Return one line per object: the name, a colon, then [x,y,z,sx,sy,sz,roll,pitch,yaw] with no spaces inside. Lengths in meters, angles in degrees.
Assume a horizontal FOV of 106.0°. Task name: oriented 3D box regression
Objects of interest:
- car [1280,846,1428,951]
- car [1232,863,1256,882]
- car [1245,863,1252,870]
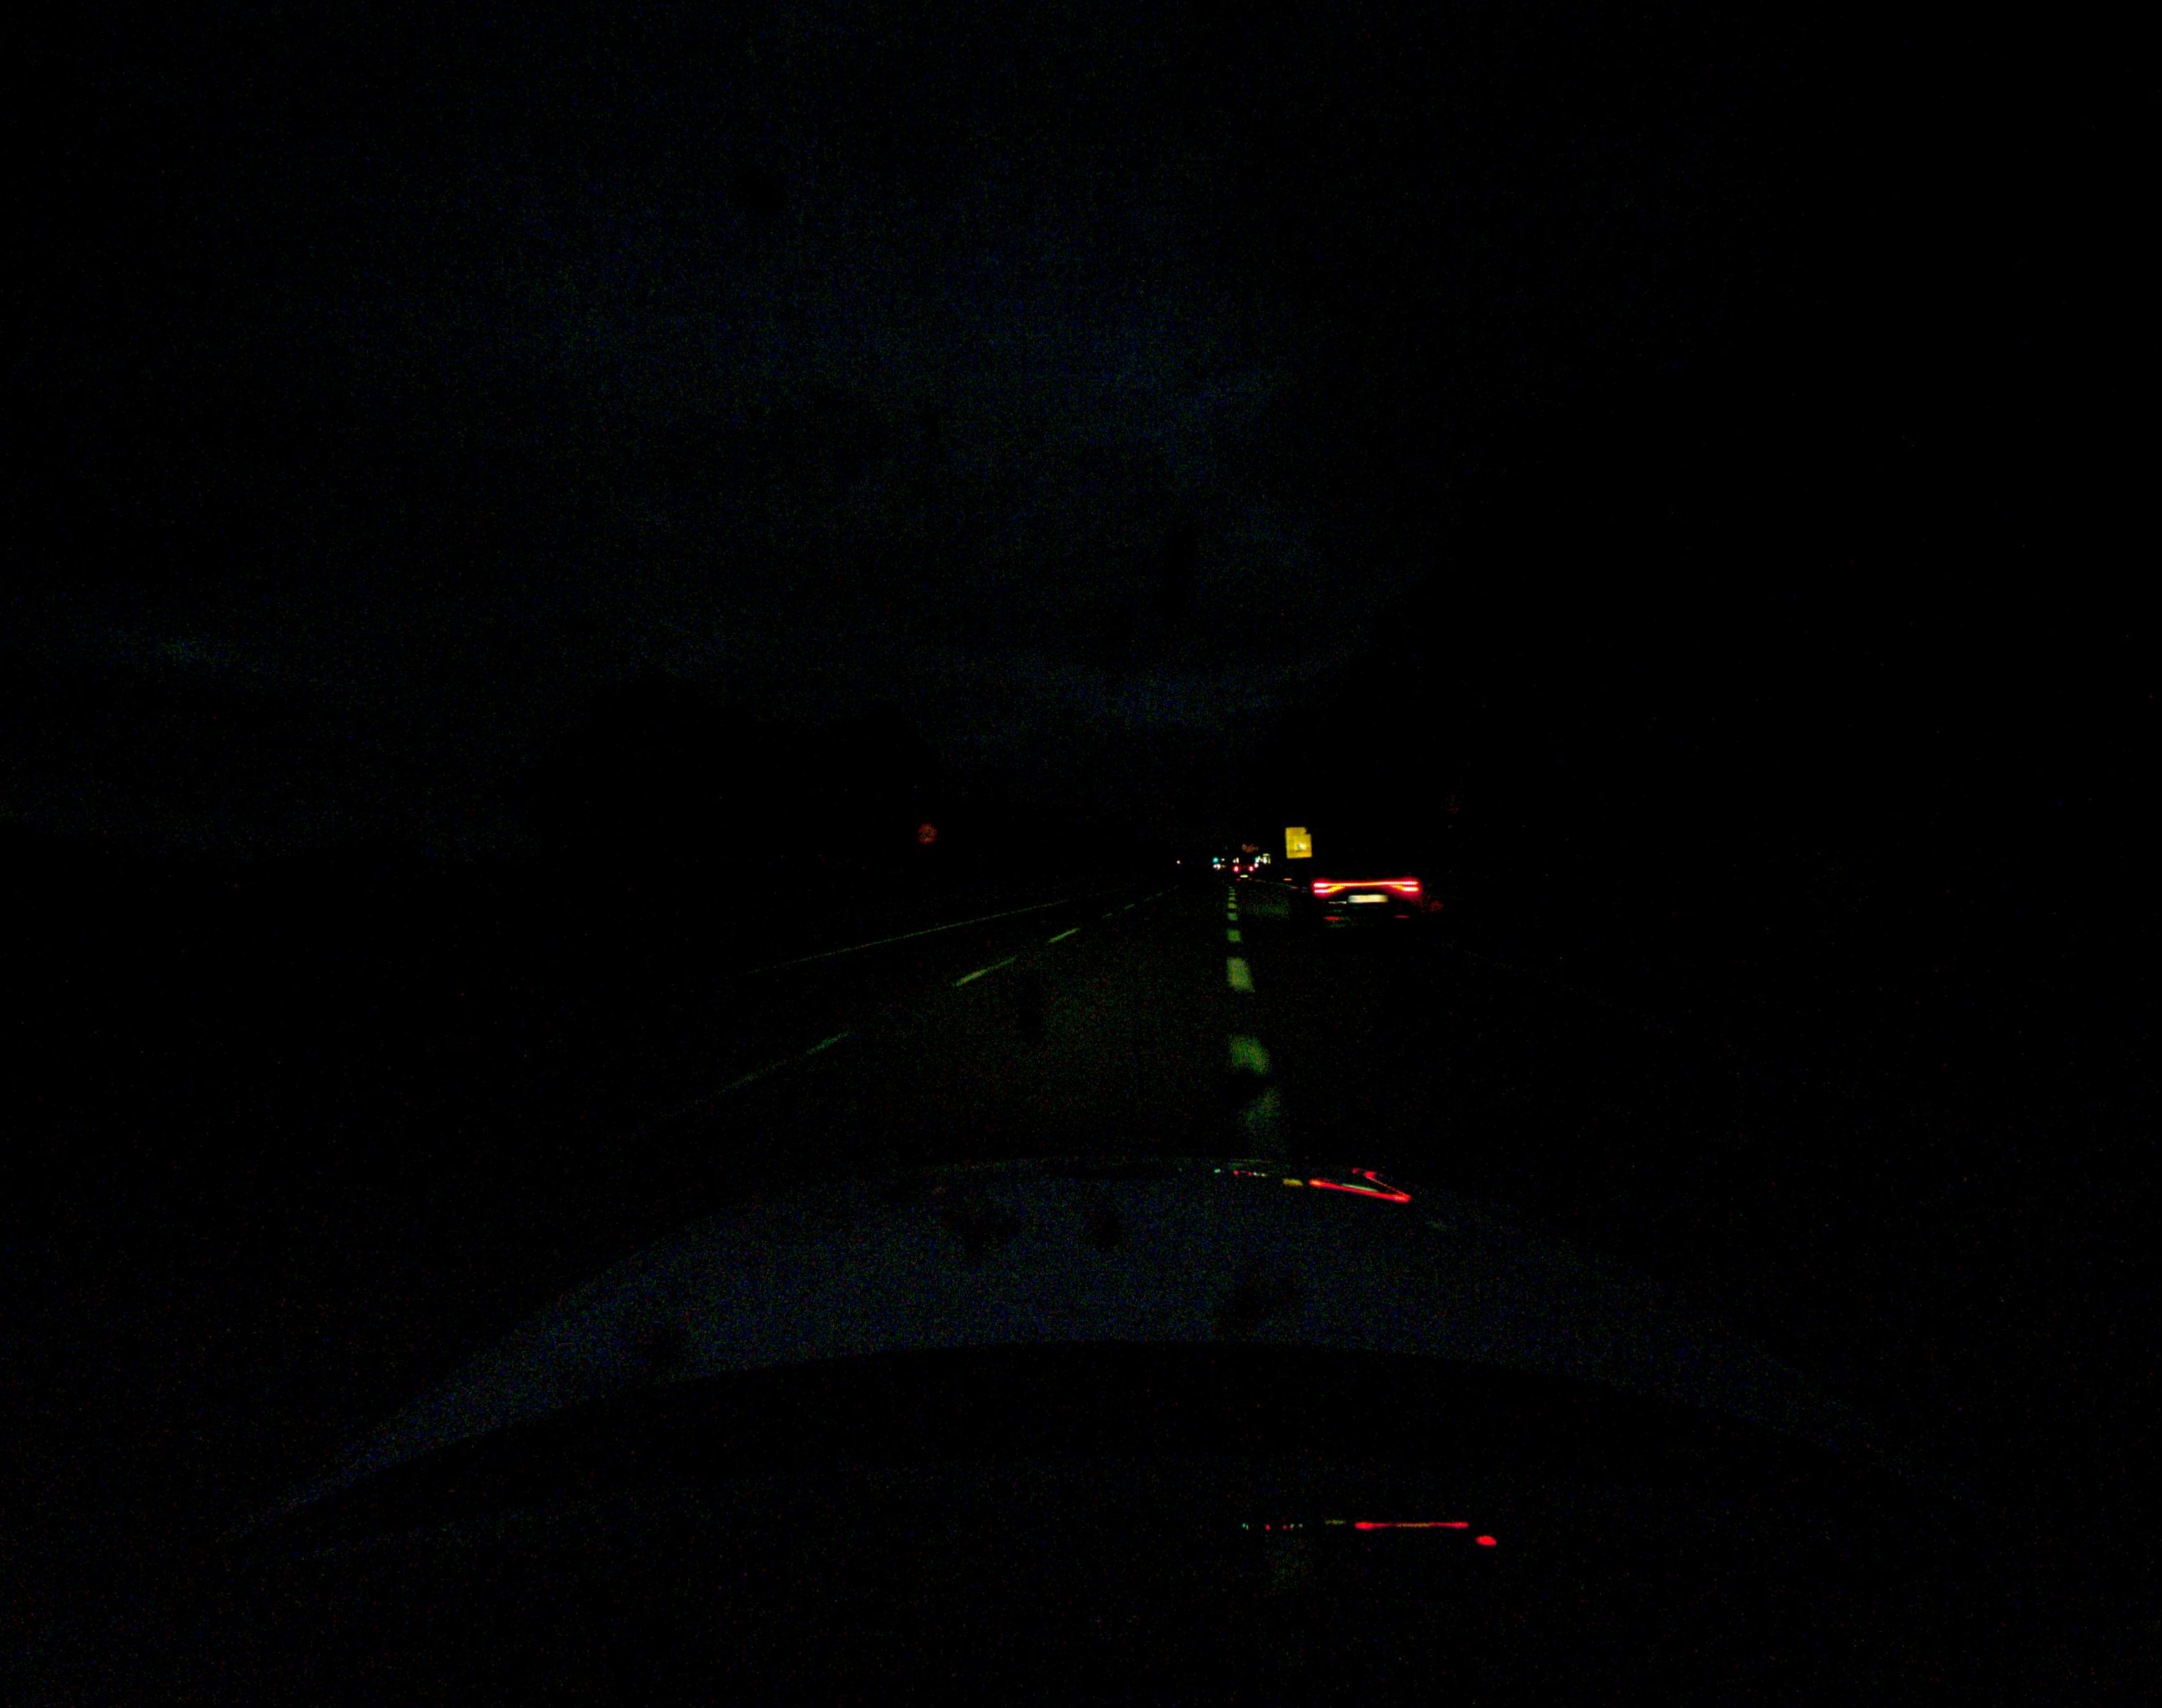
car: [4.905,0.751,15.278,1.889,1.620,4.568,-2,-1,10]
car: [13.173,1.470,65.903,1.742,1.453,4.446,-2,-1,11]
car: [50.720,3.886,246.878,1.980,1.750,4.013,-6,-3,12]
